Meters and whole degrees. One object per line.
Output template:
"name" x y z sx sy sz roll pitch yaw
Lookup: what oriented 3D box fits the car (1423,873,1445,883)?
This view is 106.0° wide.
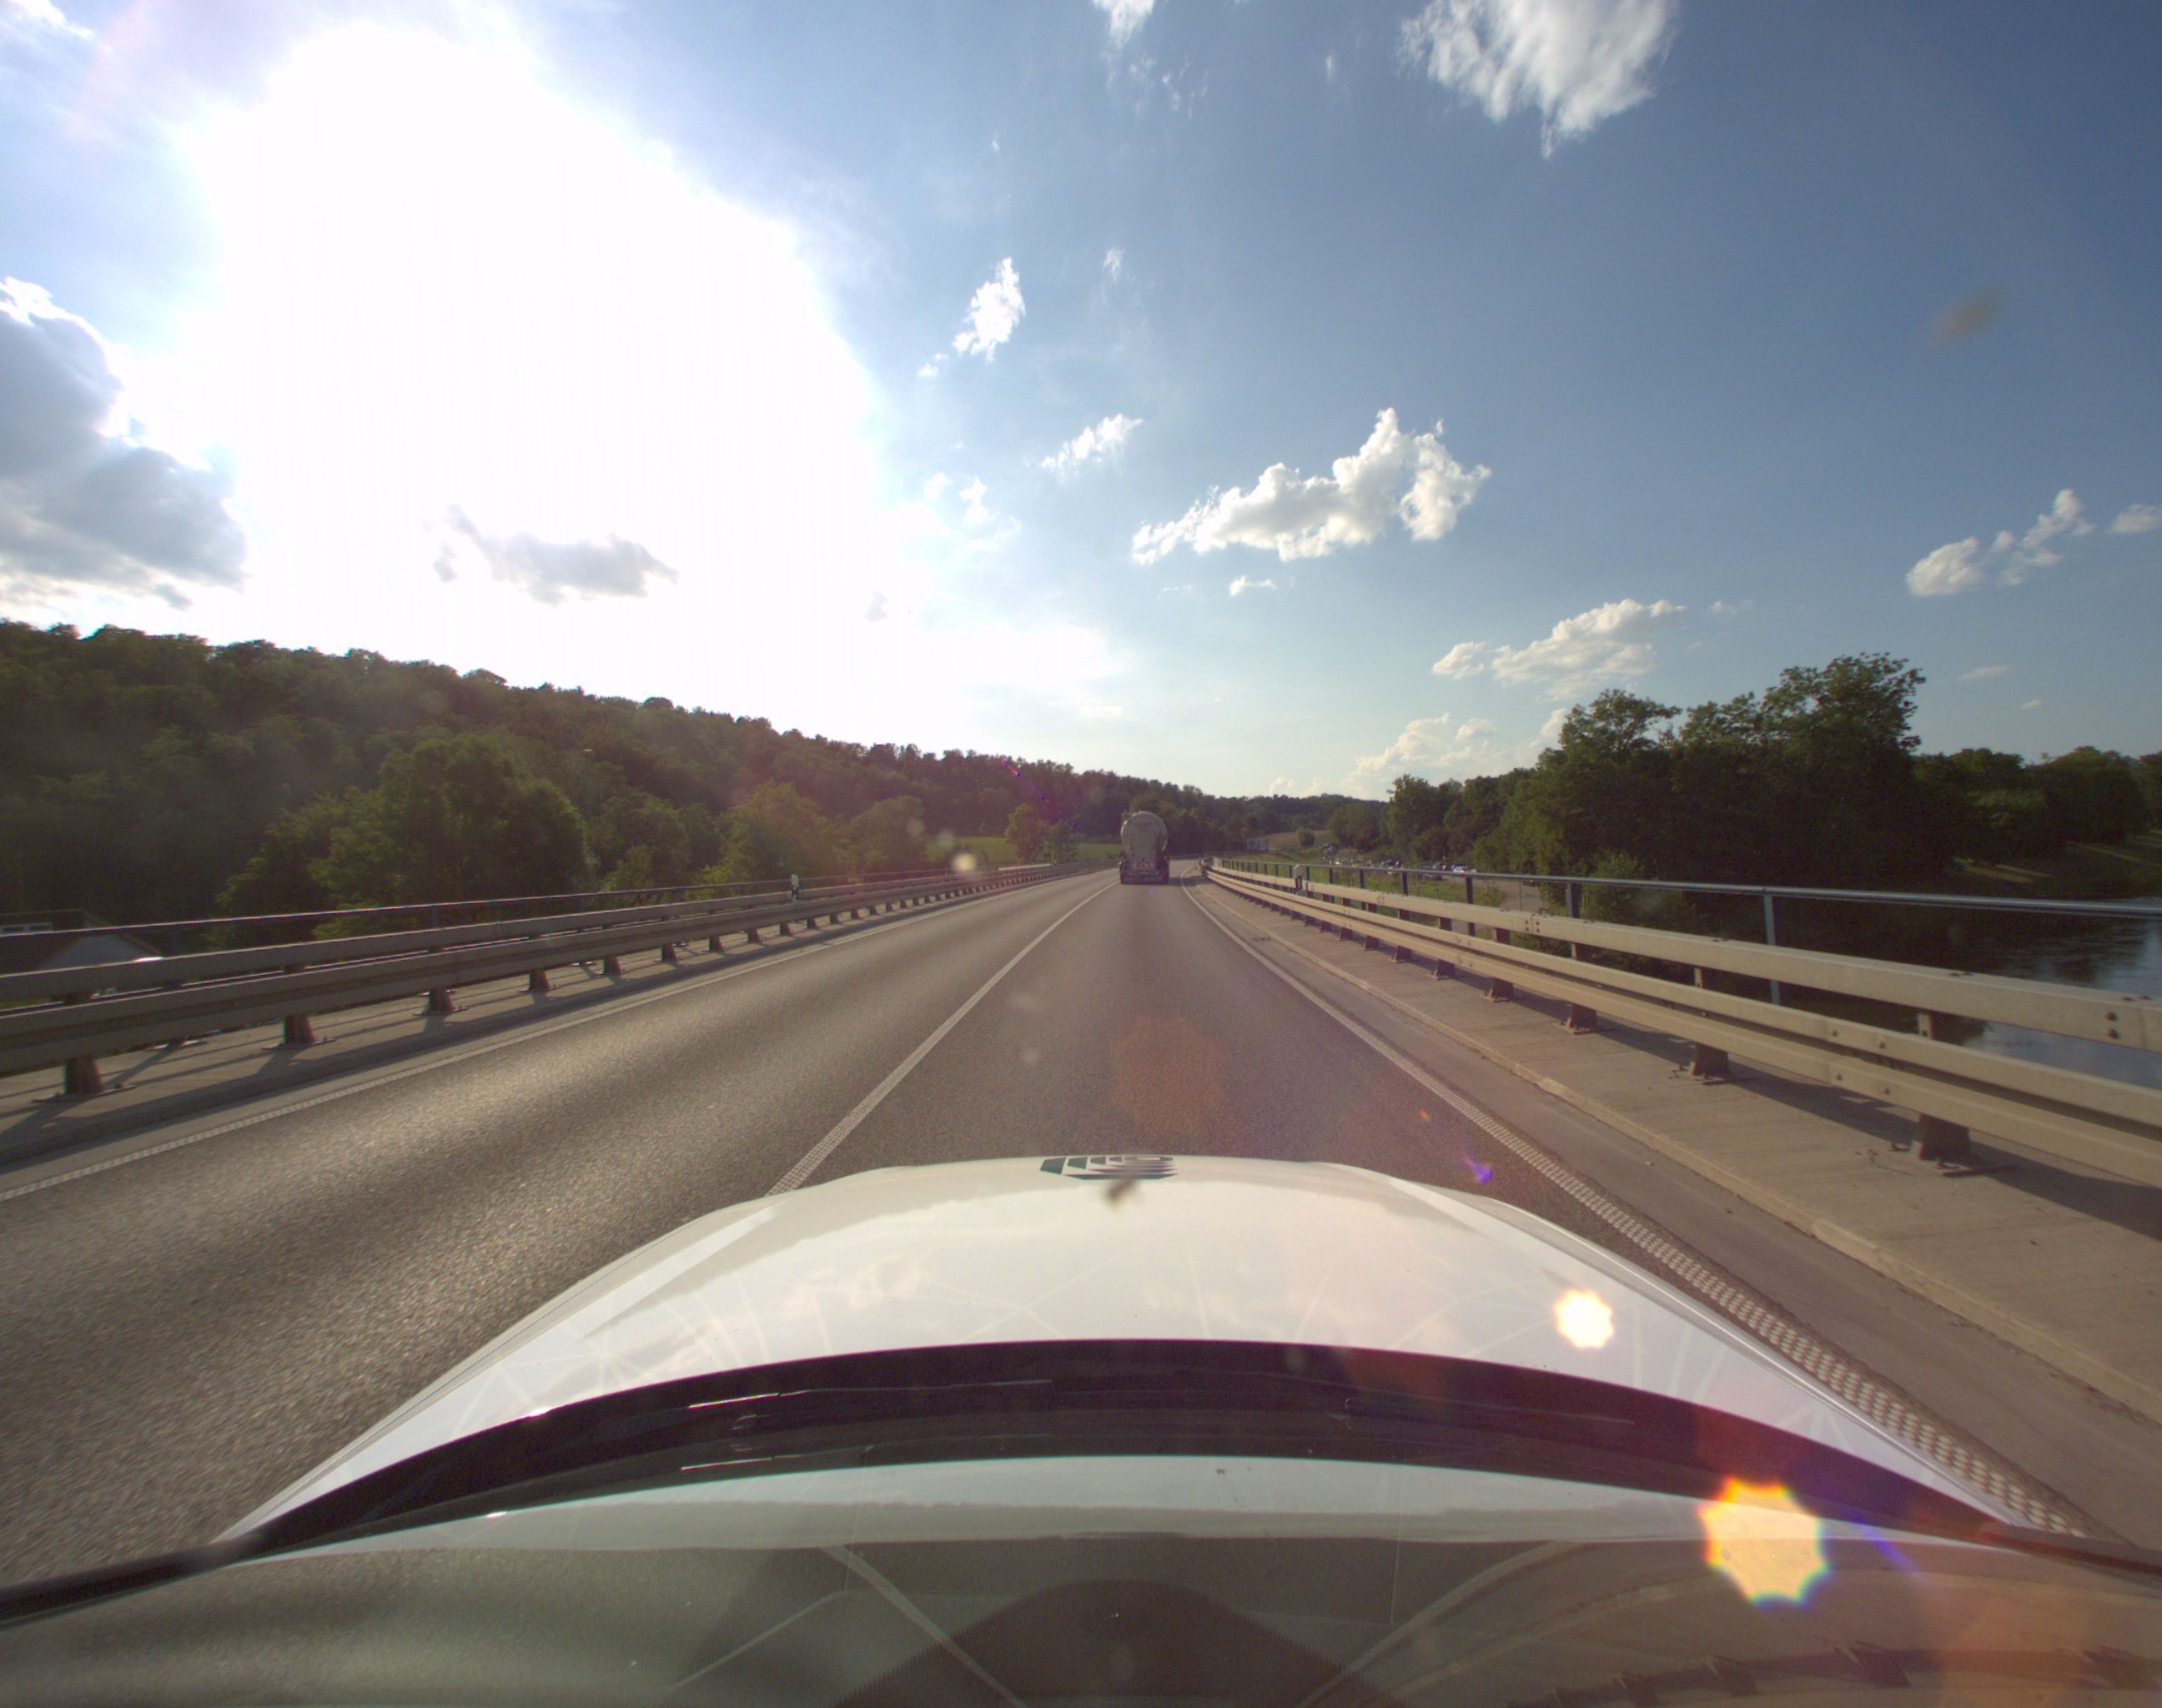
"car" 54.667 3.709 126.139 1.648 1.496 4.225 -2 -1 2

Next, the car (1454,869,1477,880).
"car" 59.939 3.210 127.090 1.647 1.666 4.714 -2 -1 5

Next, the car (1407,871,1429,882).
"car" 54.884 3.620 132.631 1.812 1.401 4.256 -3 1 0

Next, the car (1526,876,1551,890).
"car" 57.672 3.645 102.681 1.644 1.496 3.840 -2 -1 11

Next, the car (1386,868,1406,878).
"car" 55.884 3.386 144.509 1.812 1.482 4.256 -3 1 0

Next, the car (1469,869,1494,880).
"car" 59.400 2.966 120.864 1.648 1.496 4.225 -2 -1 2

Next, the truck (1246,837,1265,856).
"truck" 42.494 -1.978 198.009 3.158 4.227 13.235 -2 1 18

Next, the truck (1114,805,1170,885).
"truck" 3.780 -0.453 48.864 2.879 4.143 13.190 -1 0 5

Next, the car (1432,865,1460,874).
"car" 67.472 2.816 150.592 4.396 1.456 1.731 -2 1 -6
